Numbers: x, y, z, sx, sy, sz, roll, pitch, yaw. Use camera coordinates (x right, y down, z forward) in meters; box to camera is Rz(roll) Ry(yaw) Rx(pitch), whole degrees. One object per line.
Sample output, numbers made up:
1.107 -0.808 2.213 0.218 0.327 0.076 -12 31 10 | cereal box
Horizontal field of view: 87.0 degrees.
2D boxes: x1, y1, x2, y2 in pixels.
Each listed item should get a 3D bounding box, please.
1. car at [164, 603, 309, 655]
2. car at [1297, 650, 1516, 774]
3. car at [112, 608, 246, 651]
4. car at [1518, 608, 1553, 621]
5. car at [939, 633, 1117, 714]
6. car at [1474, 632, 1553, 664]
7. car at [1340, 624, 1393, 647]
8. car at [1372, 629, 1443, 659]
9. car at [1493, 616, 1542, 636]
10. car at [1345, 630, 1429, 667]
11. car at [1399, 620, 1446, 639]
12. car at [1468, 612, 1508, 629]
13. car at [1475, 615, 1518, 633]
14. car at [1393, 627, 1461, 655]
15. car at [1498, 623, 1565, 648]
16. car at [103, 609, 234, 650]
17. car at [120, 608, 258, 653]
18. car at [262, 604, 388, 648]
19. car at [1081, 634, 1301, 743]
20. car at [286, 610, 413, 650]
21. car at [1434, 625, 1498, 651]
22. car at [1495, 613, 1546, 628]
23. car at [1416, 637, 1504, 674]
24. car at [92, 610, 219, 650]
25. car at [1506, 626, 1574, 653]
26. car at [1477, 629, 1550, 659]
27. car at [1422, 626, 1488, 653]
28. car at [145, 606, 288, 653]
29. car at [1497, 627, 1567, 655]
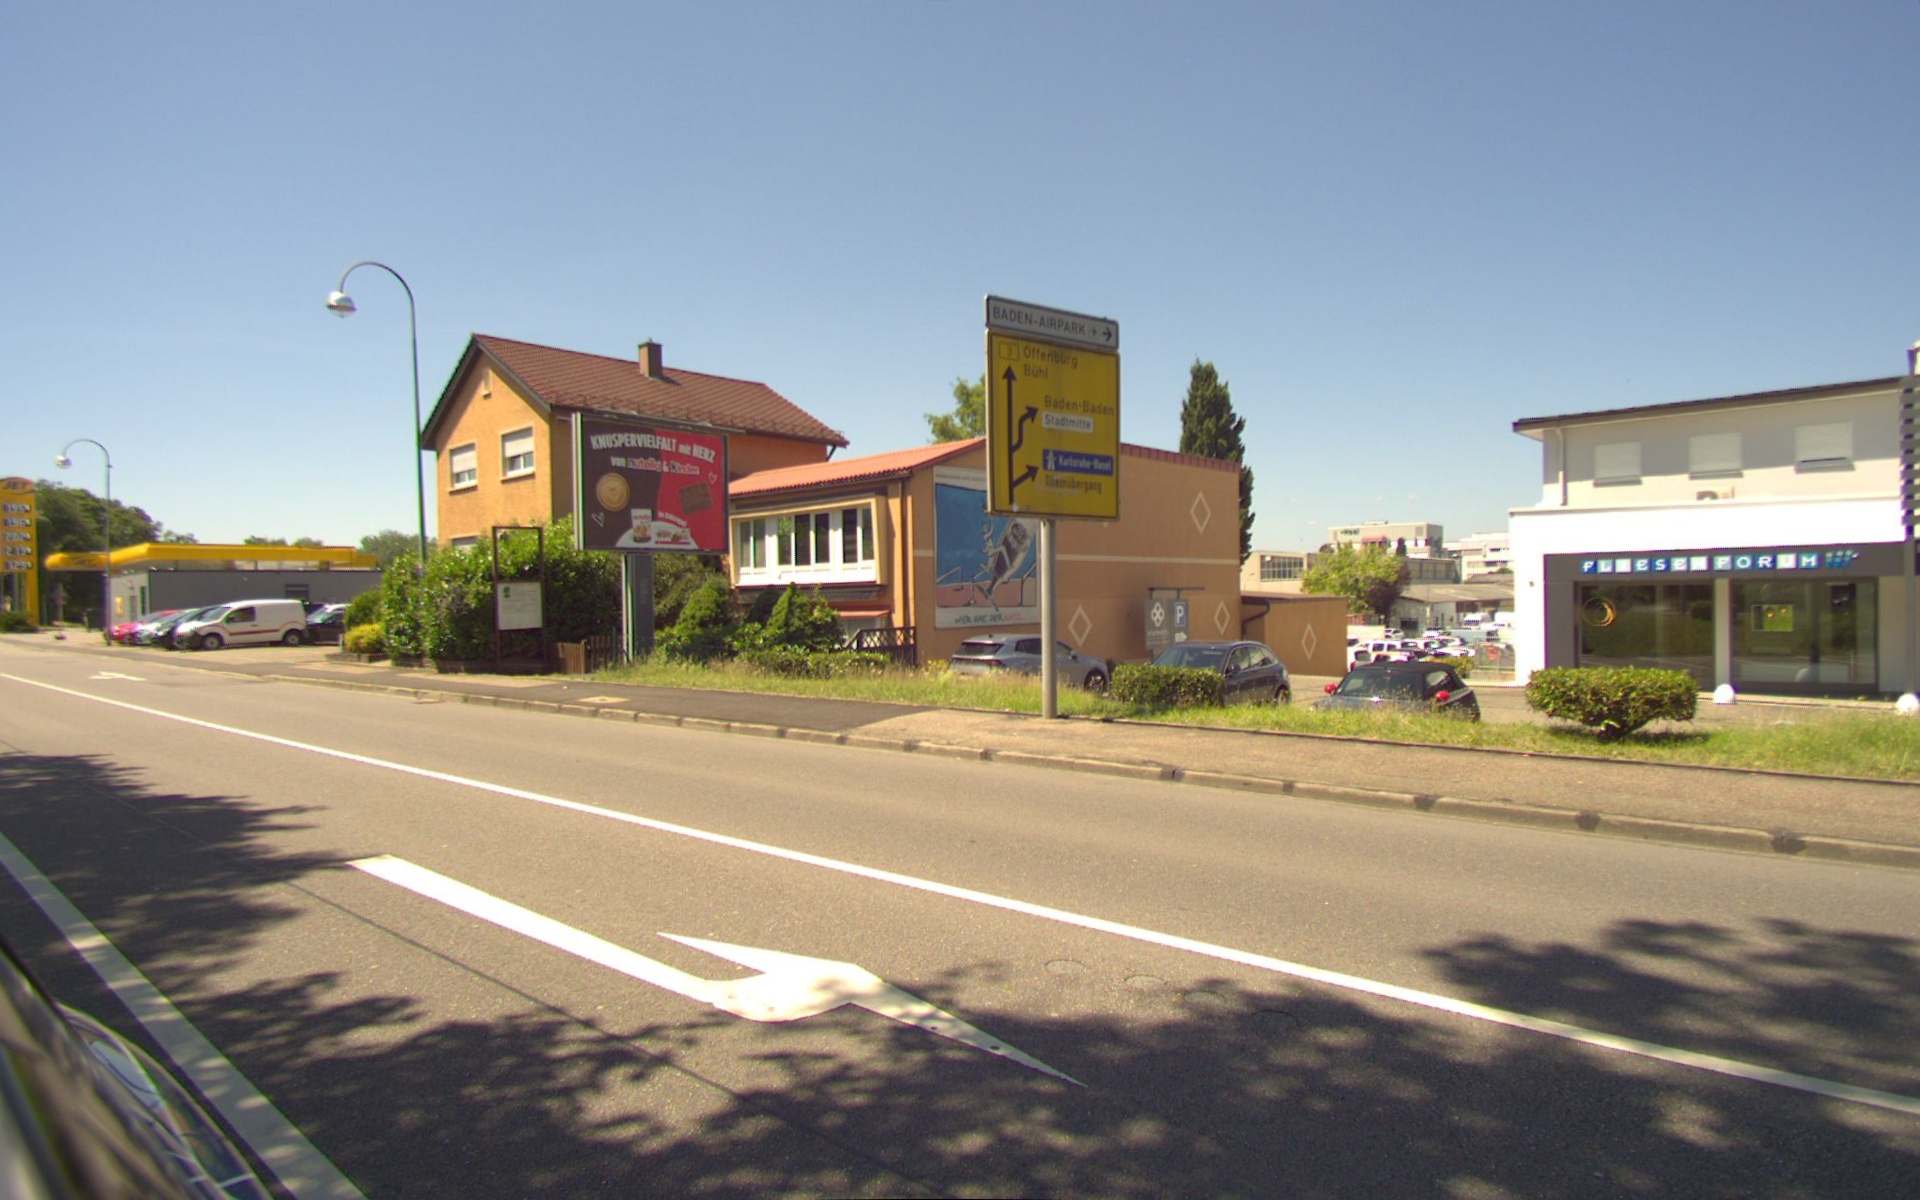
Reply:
-27.580 1.059 38.705 1.871 1.883 4.143 -1 -1 35 | car
7.161 1.655 16.048 4.039 1.544 1.772 0 -1 -44 | car
-34.326 1.265 44.583 1.871 1.773 4.351 -1 -1 35 | car
77.199 1.957 135.718 3.774 1.768 1.707 -1 -1 44 | car
1.655 1.633 23.648 4.165 1.621 1.773 0 -1 -42 | car
32.661 2.785 59.783 3.774 1.768 1.707 -1 -1 44 | car
33.934 2.942 84.522 3.774 1.768 1.707 -1 -1 44 | car
28.303 2.776 64.044 3.774 1.768 1.707 -1 -1 44 | car
53.064 2.484 96.322 3.774 1.768 1.707 -1 0 44 | car
24.556 2.756 58.305 4.001 2.029 1.971 -1 -1 44 | car
44.389 2.848 97.167 3.774 1.768 1.707 -1 -1 44 | car
61.367 2.401 117.713 3.774 1.767 1.707 -1 3 44 | car
58.948 2.665 111.221 3.775 1.768 1.707 -3 1 45 | car
31.111 2.701 67.429 3.774 1.768 1.707 -1 -1 44 | car
42.658 2.641 75.552 4.055 1.768 1.707 -1 -1 44 | car
-35.899 1.293 46.003 1.871 1.773 4.351 -1 -1 35 | car
-32.651 1.256 42.969 1.871 1.773 4.351 -1 -1 35 | car
-28.042 1.112 44.790 1.871 1.839 4.351 0 0 35 | car
4.339 1.508 18.562 4.462 1.654 1.772 0 -1 -44 | car
-26.171 1.249 43.512 1.871 1.575 4.351 -1 -1 35 | car
36.474 2.728 72.993 3.774 1.768 1.707 -1 -1 44 | car
71.836 2.631 129.721 5.303 1.768 2.037 -1 -1 44 | car
26.111 2.873 52.890 3.774 1.768 1.707 -1 -1 44 | car
-37.792 1.361 47.633 1.871 1.773 4.351 -1 -1 35 | car
39.899 2.686 69.688 3.774 1.768 1.707 -1 -1 44 | car
34.931 2.753 63.910 3.774 1.768 1.707 -1 -1 44 | car
34.540 2.750 70.680 3.774 1.768 1.707 -1 -1 44 | car
-29.249 1.124 39.923 1.871 1.773 4.198 -1 -1 35 | car
38.219 2.707 67.719 3.774 1.768 1.707 -1 -1 44 | car
